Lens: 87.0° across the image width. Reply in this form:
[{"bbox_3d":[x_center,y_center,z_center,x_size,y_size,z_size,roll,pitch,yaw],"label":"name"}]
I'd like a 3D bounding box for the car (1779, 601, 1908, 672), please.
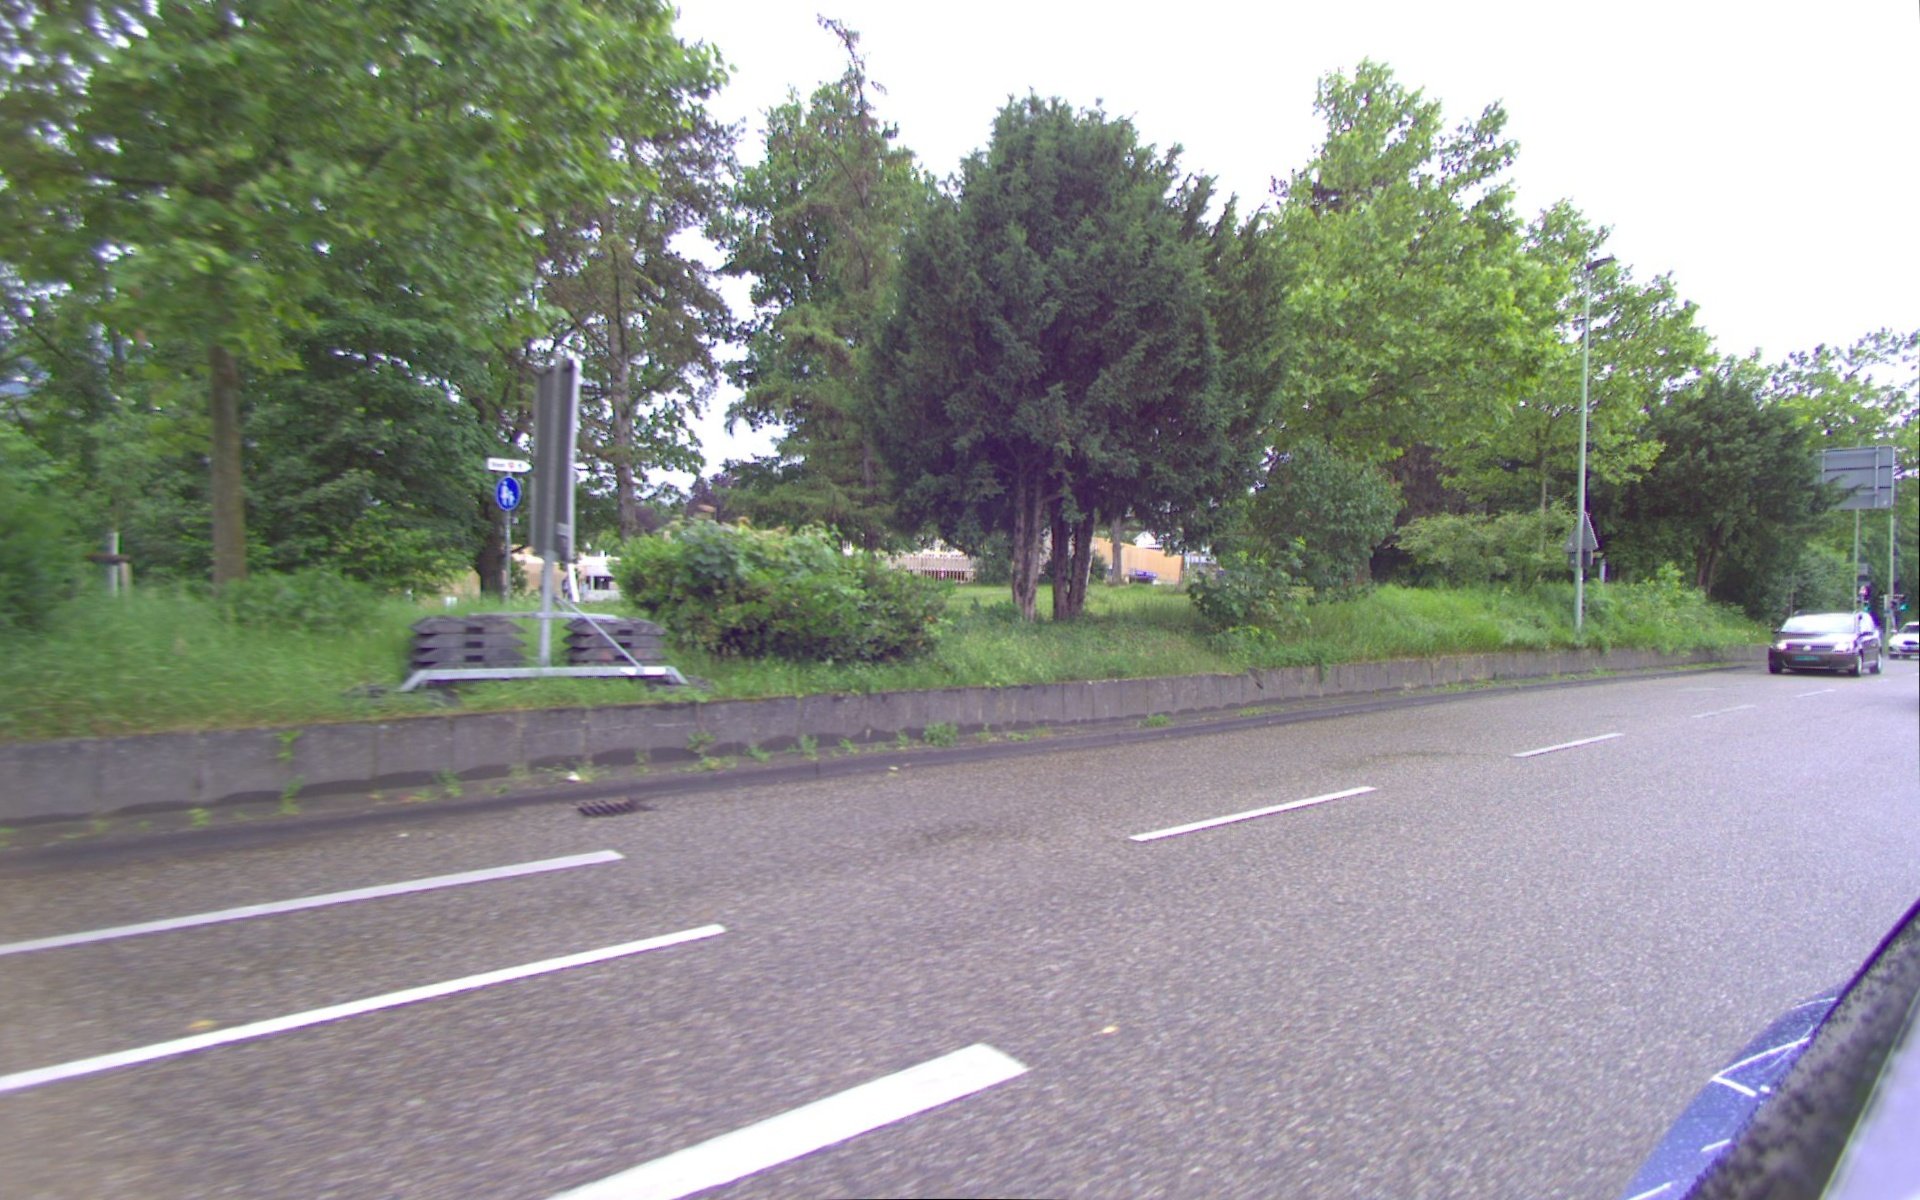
[{"bbox_3d":[22.203,0.920,25.399,3.907,1.630,1.751,2,-1,-38],"label":"car"}]

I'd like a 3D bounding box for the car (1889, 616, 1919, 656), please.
[{"bbox_3d":[37.616,1.410,39.246,4.596,1.475,1.783,2,-1,-40],"label":"car"}]
